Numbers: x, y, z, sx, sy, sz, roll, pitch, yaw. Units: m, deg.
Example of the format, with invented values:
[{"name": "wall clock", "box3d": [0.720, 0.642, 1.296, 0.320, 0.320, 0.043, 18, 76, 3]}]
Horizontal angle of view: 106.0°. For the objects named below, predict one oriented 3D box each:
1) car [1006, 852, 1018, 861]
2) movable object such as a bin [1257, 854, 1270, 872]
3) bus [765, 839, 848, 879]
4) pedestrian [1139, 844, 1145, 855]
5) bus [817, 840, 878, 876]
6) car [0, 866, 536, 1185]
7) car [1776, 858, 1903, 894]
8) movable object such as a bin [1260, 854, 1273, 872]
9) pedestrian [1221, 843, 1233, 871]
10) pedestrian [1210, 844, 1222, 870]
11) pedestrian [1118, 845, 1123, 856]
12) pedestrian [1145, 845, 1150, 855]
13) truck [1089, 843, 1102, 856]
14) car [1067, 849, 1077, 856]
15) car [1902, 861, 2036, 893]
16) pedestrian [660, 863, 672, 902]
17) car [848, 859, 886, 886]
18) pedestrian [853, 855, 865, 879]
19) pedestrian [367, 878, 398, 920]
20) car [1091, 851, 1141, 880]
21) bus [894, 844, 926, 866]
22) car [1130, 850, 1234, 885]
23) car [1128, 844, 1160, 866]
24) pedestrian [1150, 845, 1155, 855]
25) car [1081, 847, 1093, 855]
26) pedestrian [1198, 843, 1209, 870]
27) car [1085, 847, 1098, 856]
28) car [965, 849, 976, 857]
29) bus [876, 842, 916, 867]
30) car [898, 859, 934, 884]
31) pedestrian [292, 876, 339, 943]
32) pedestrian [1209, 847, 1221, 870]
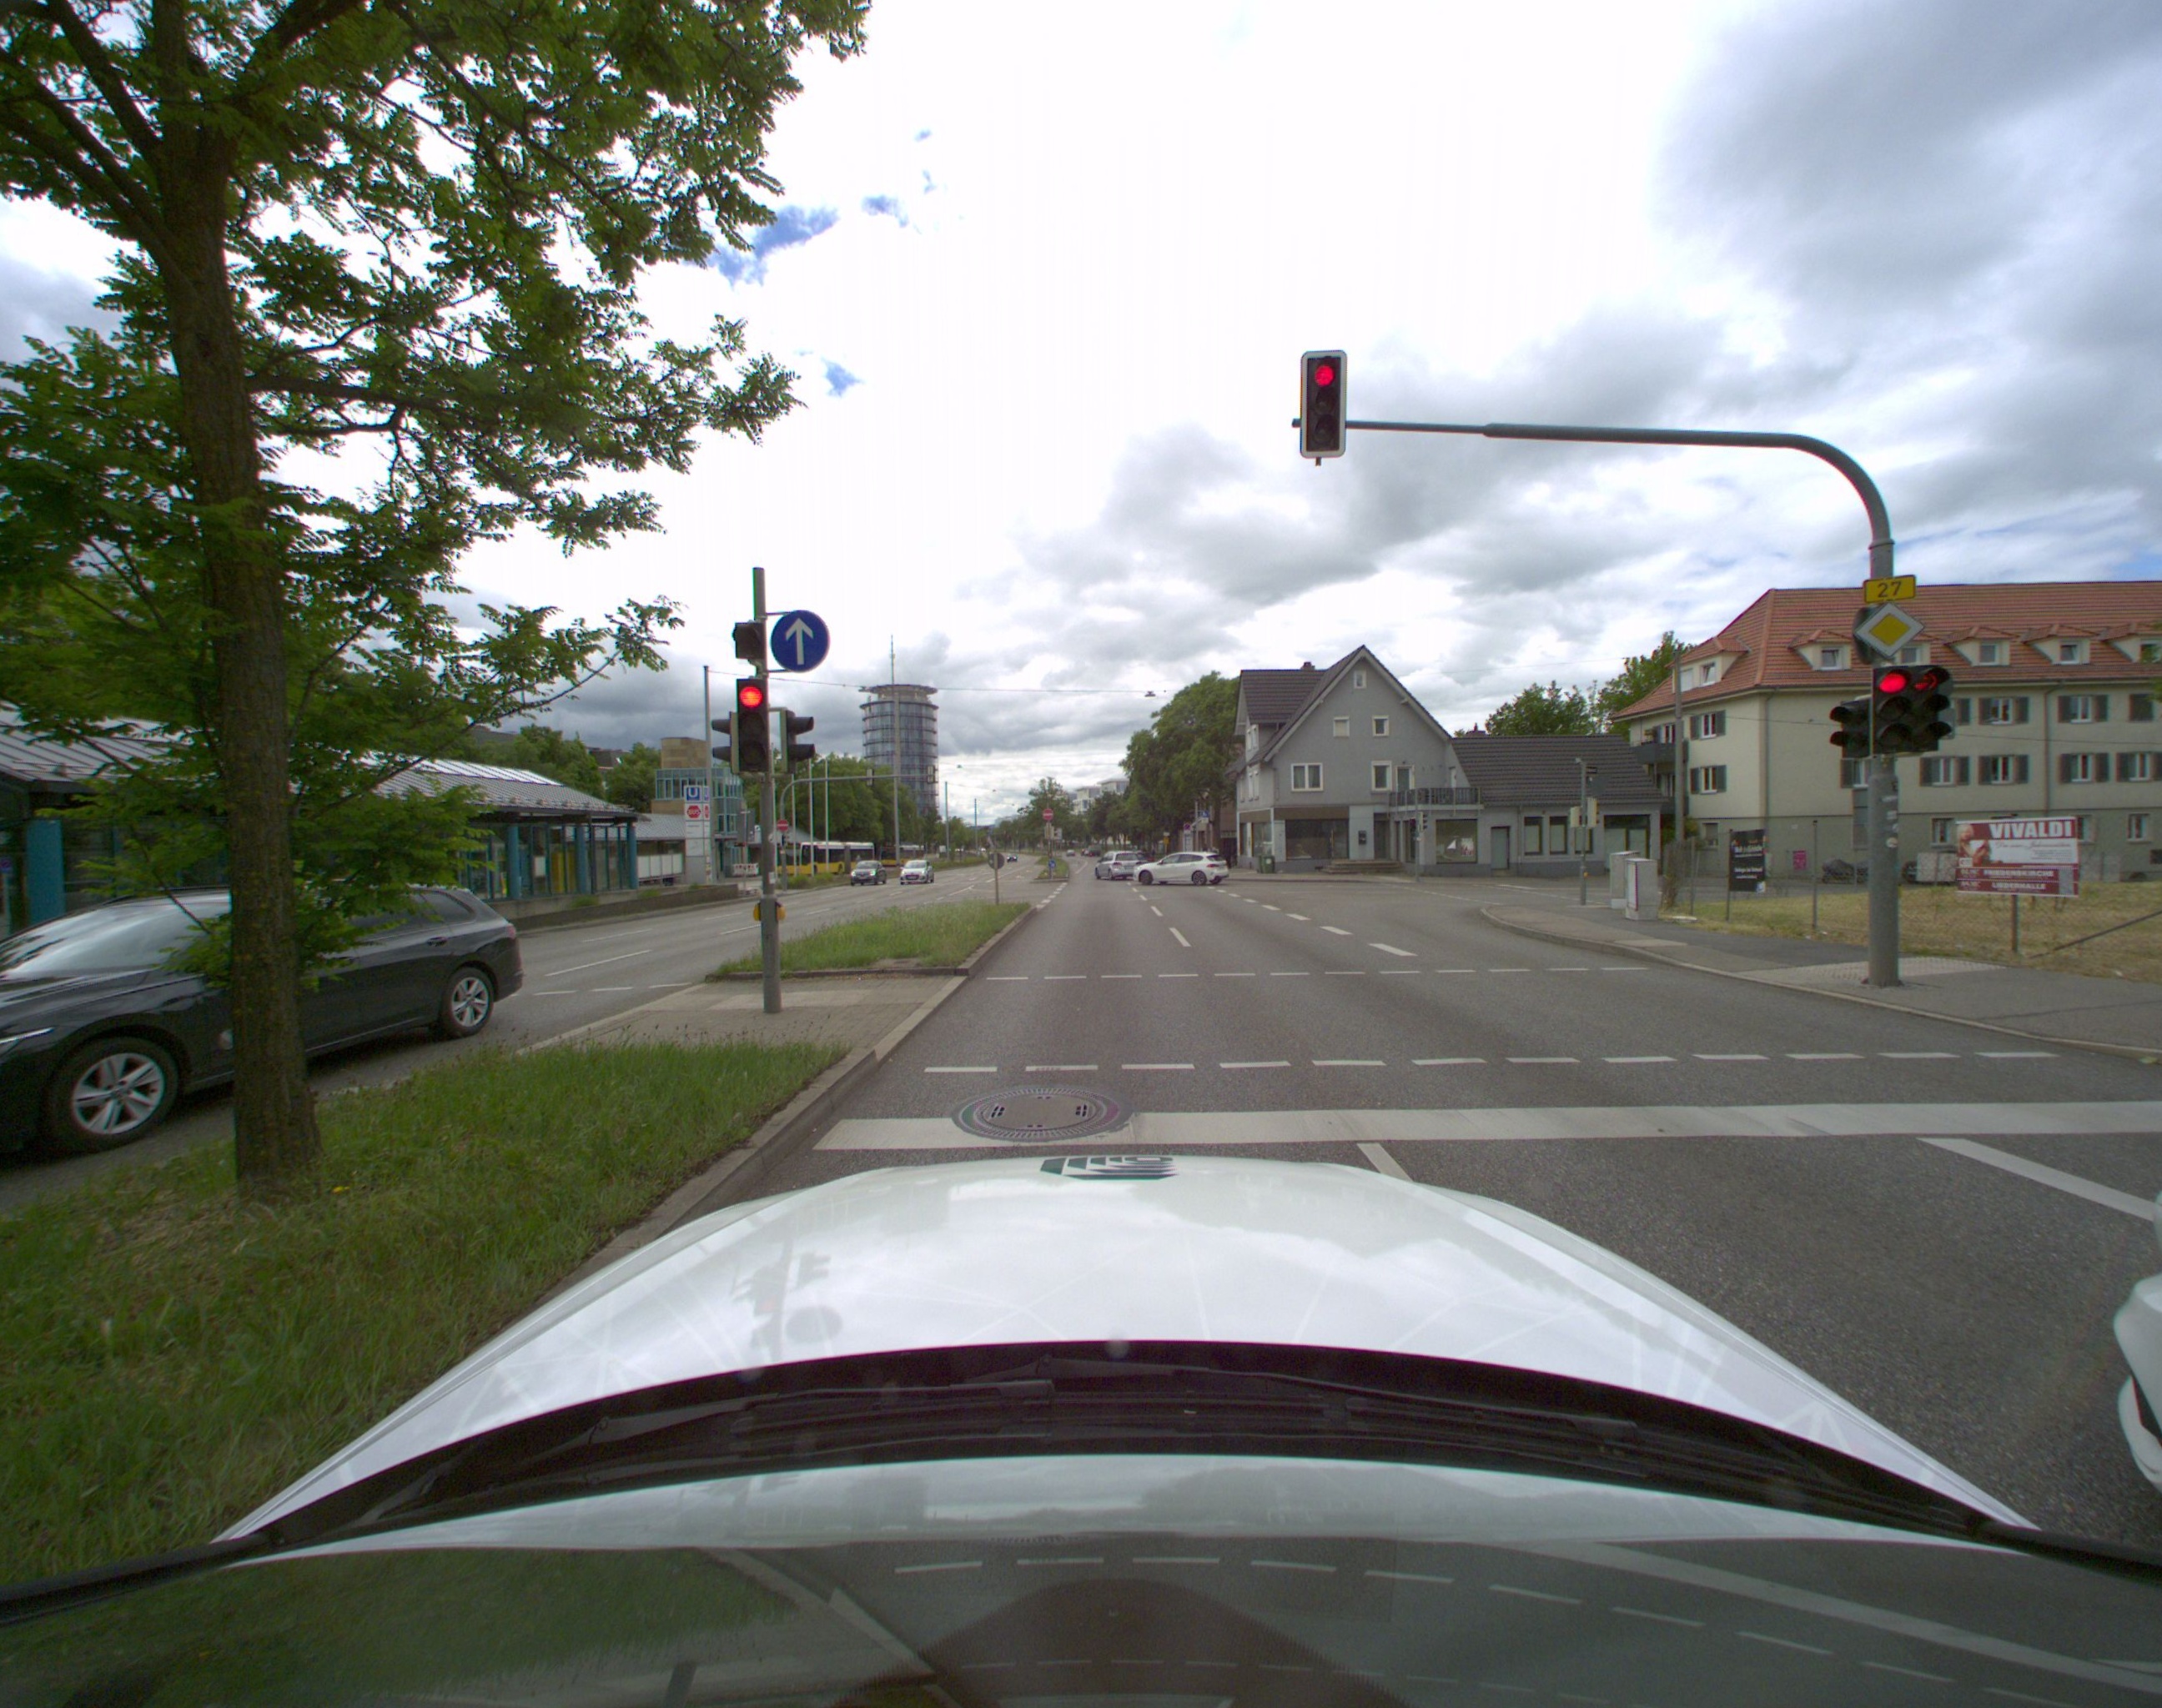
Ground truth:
[{"name": "car", "box3d": [-11.824, 0.482, 139.763, 1.697, 1.492, 3.561, -2, 0, 0]}, {"name": "movable object such as a bin", "box3d": [10.038, 0.473, 44.755, 0.527, 0.979, 0.737, -2, 0, 2]}, {"name": "bus", "box3d": [-24.322, 0.406, 72.876, 2.975, 3.250, 10.186, -2, 0, 6]}, {"name": "pedestrian", "box3d": [10.953, -0.820, 146.066, 0.967, 2.014, 0.981, 0, -1, 1]}, {"name": "bus", "box3d": [-23.351, 0.374, 81.876, 2.975, 3.270, 7.889, -2, 0, 6]}, {"name": "car", "box3d": [-6.310, 0.934, 5.989, 1.705, 1.481, 4.285, -3, 1, -2]}, {"name": "car", "box3d": [34.042, 0.982, 36.622, 3.972, 1.537, 1.871, 0, 0, 2]}, {"name": "movable object such as a bin", "box3d": [10.032, 0.475, 43.964, 0.527, 0.979, 0.737, -2, 0, 2]}, {"name": "pedestrian", "box3d": [9.561, 0.198, 53.294, 0.701, 1.760, 1.054, -2, 0, 7]}, {"name": "pedestrian", "box3d": [9.440, 0.193, 56.880, 0.701, 1.780, 0.872, -2, 0, 7]}, {"name": "pedestrian", "box3d": [8.529, -0.761, 174.568, 0.930, 2.308, 1.008, 0, -1, -8]}, {"name": "pedestrian", "box3d": [10.503, -0.595, 128.484, 0.649, 1.570, 0.669, -2, 0, -6]}, {"name": "truck", "box3d": [2.759, -0.807, 156.679, 2.246, 2.416, 4.928, -1, 0, -3]}, {"name": "car", "box3d": [-1.906, -0.343, 173.480, 1.963, 1.420, 4.017, -2, 0, -3]}, {"name": "car", "box3d": [39.811, 1.019, 36.584, 3.972, 1.377, 1.871, 0, 0, 2]}, {"name": "pedestrian", "box3d": [-17.323, 1.175, 33.973, 0.420, 1.591, 0.353, -2, 0, -28]}, {"name": "car", "box3d": [-13.492, 1.147, 51.541, 1.681, 1.578, 3.344, -2, 0, -4]}, {"name": "pedestrian", "box3d": [-18.313, 1.060, 67.179, 0.658, 1.897, 0.686, -2, 0, 2]}, {"name": "pedestrian", "box3d": [-26.946, 1.720, 31.425, 0.632, 1.571, 0.662, 0, -1, 1]}, {"name": "car", "box3d": [1.857, 0.604, 44.873, 1.824, 1.540, 4.097, 0, 0, -12]}, {"name": "bus", "box3d": [-26.034, 0.131, 124.335, 3.134, 3.225, 7.765, -2, 0, 0]}, {"name": "car", "box3d": [4.538, 0.583, 36.743, 4.201, 1.477, 2.013, -1, 0, 32]}, {"name": "car", "box3d": [4.662, 0.116, 61.087, 1.884, 1.494, 4.095, -2, -1, -2]}, {"name": "pedestrian", "box3d": [11.284, -0.601, 128.549, 0.649, 1.570, 0.669, -2, 0, -6]}, {"name": "car", "box3d": [1.294, -0.545, 174.114, 2.246, 1.647, 4.927, -2, 0, -3]}, {"name": "pedestrian", "box3d": [8.174, 0.186, 54.392, 0.701, 1.780, 0.872, -2, 0, 7]}, {"name": "car", "box3d": [2.101, -0.462, 165.292, 2.246, 1.757, 4.928, -2, 0, -3]}, {"name": "car", "box3d": [-27.253, -0.157, 201.226, 1.958, 2.014, 4.001, 0, -1, 2]}, {"name": "bus", "box3d": [-26.092, 0.104, 115.326, 3.135, 3.225, 10.282, -2, 0, 0]}, {"name": "car", "box3d": [-10.339, 1.055, 51.330, 1.680, 1.462, 3.552, -2, 0, -3]}, {"name": "pedestrian", "box3d": [-20.913, 1.489, 22.252, 0.527, 1.762, 0.755, -2, 0, -1]}, {"name": "pedestrian", "box3d": [8.872, 0.299, 53.858, 0.701, 1.507, 0.872, -2, 0, 7]}]
